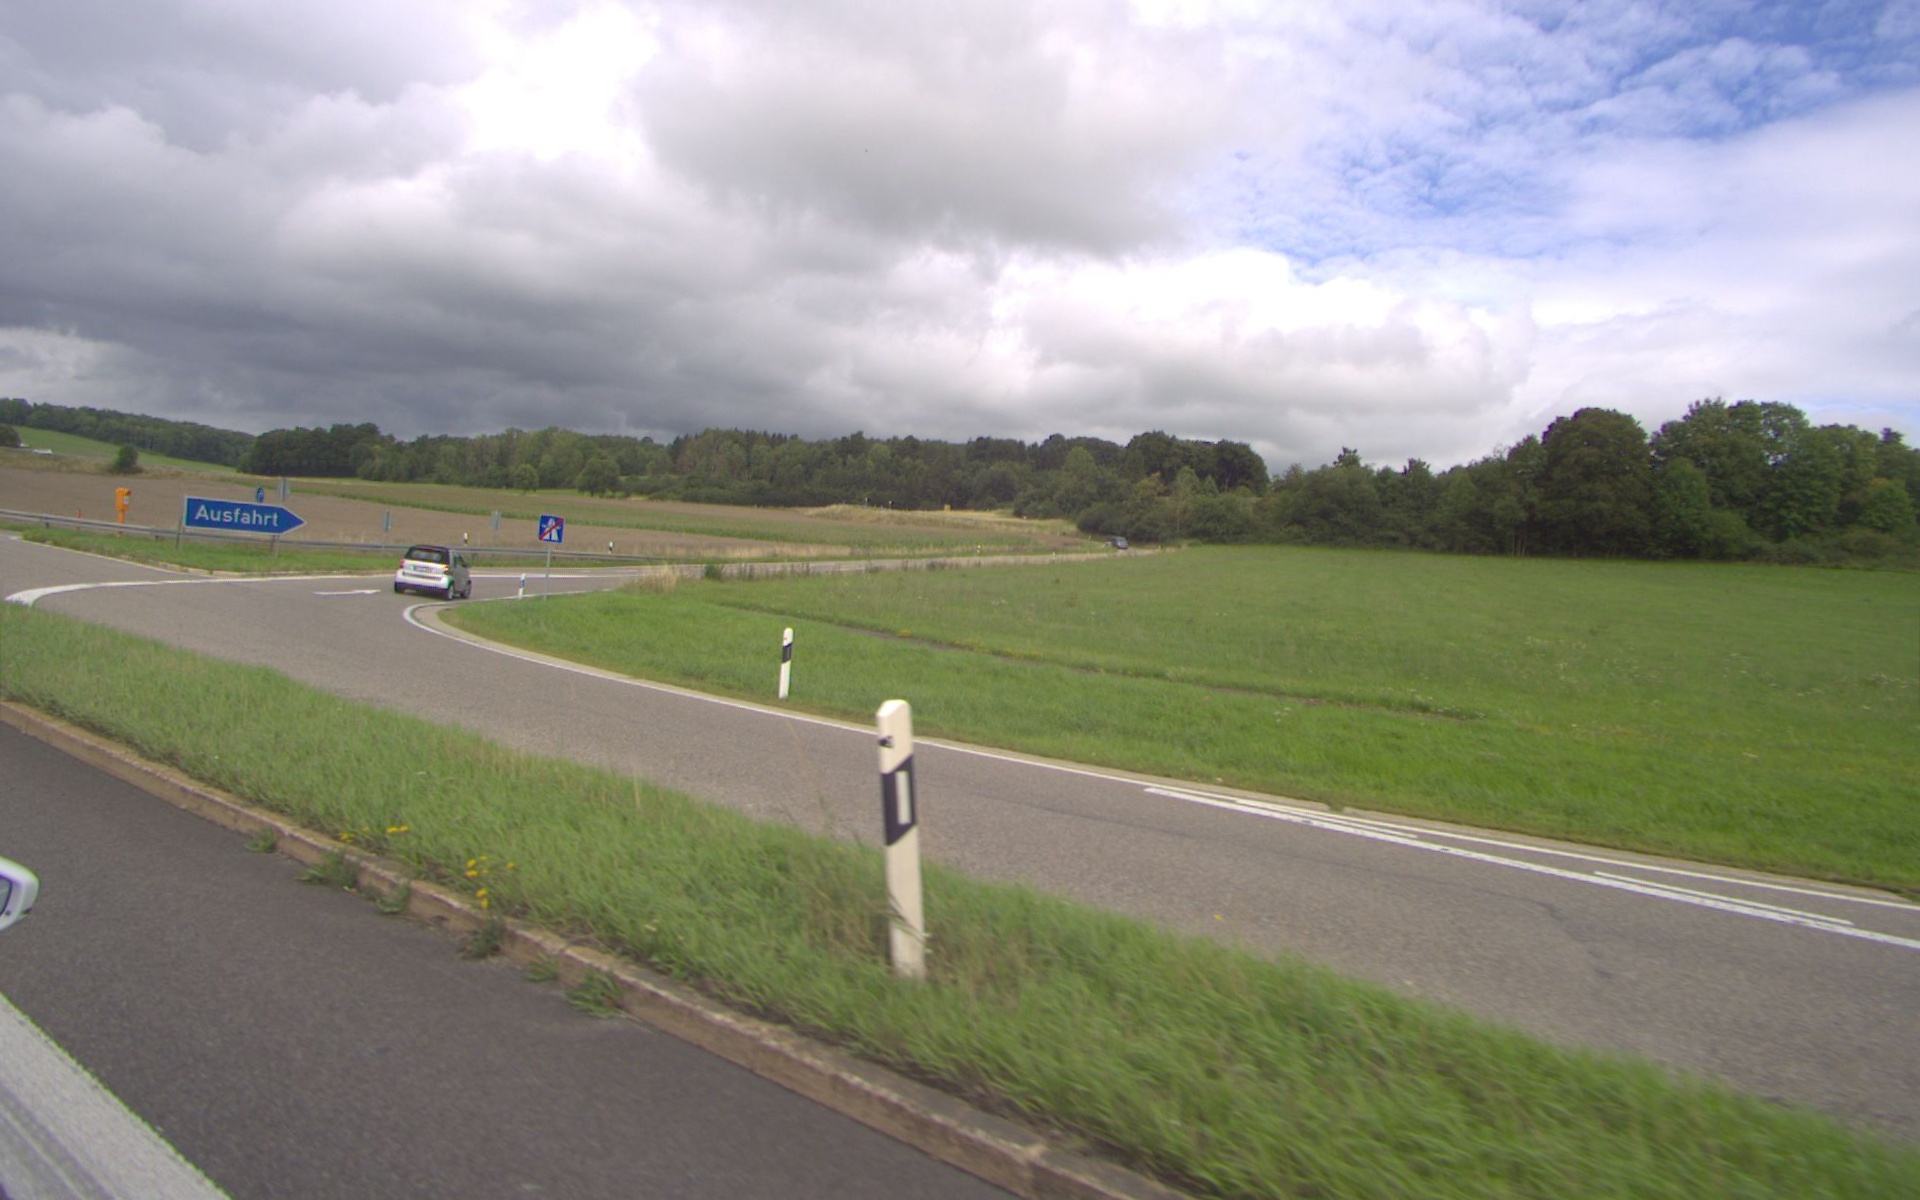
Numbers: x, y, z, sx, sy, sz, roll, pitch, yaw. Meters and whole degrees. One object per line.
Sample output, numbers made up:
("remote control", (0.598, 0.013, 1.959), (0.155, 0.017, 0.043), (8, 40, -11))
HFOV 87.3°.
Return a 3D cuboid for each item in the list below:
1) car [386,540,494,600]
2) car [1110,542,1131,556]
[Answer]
("car", (-16.292, -0.927, 31.747), (1.753, 1.571, 3.992), (7, 0, -10))
("car", (27.322, -8.658, 171.517), (1.968, 2.040, 3.987), (5, 1, -14))
